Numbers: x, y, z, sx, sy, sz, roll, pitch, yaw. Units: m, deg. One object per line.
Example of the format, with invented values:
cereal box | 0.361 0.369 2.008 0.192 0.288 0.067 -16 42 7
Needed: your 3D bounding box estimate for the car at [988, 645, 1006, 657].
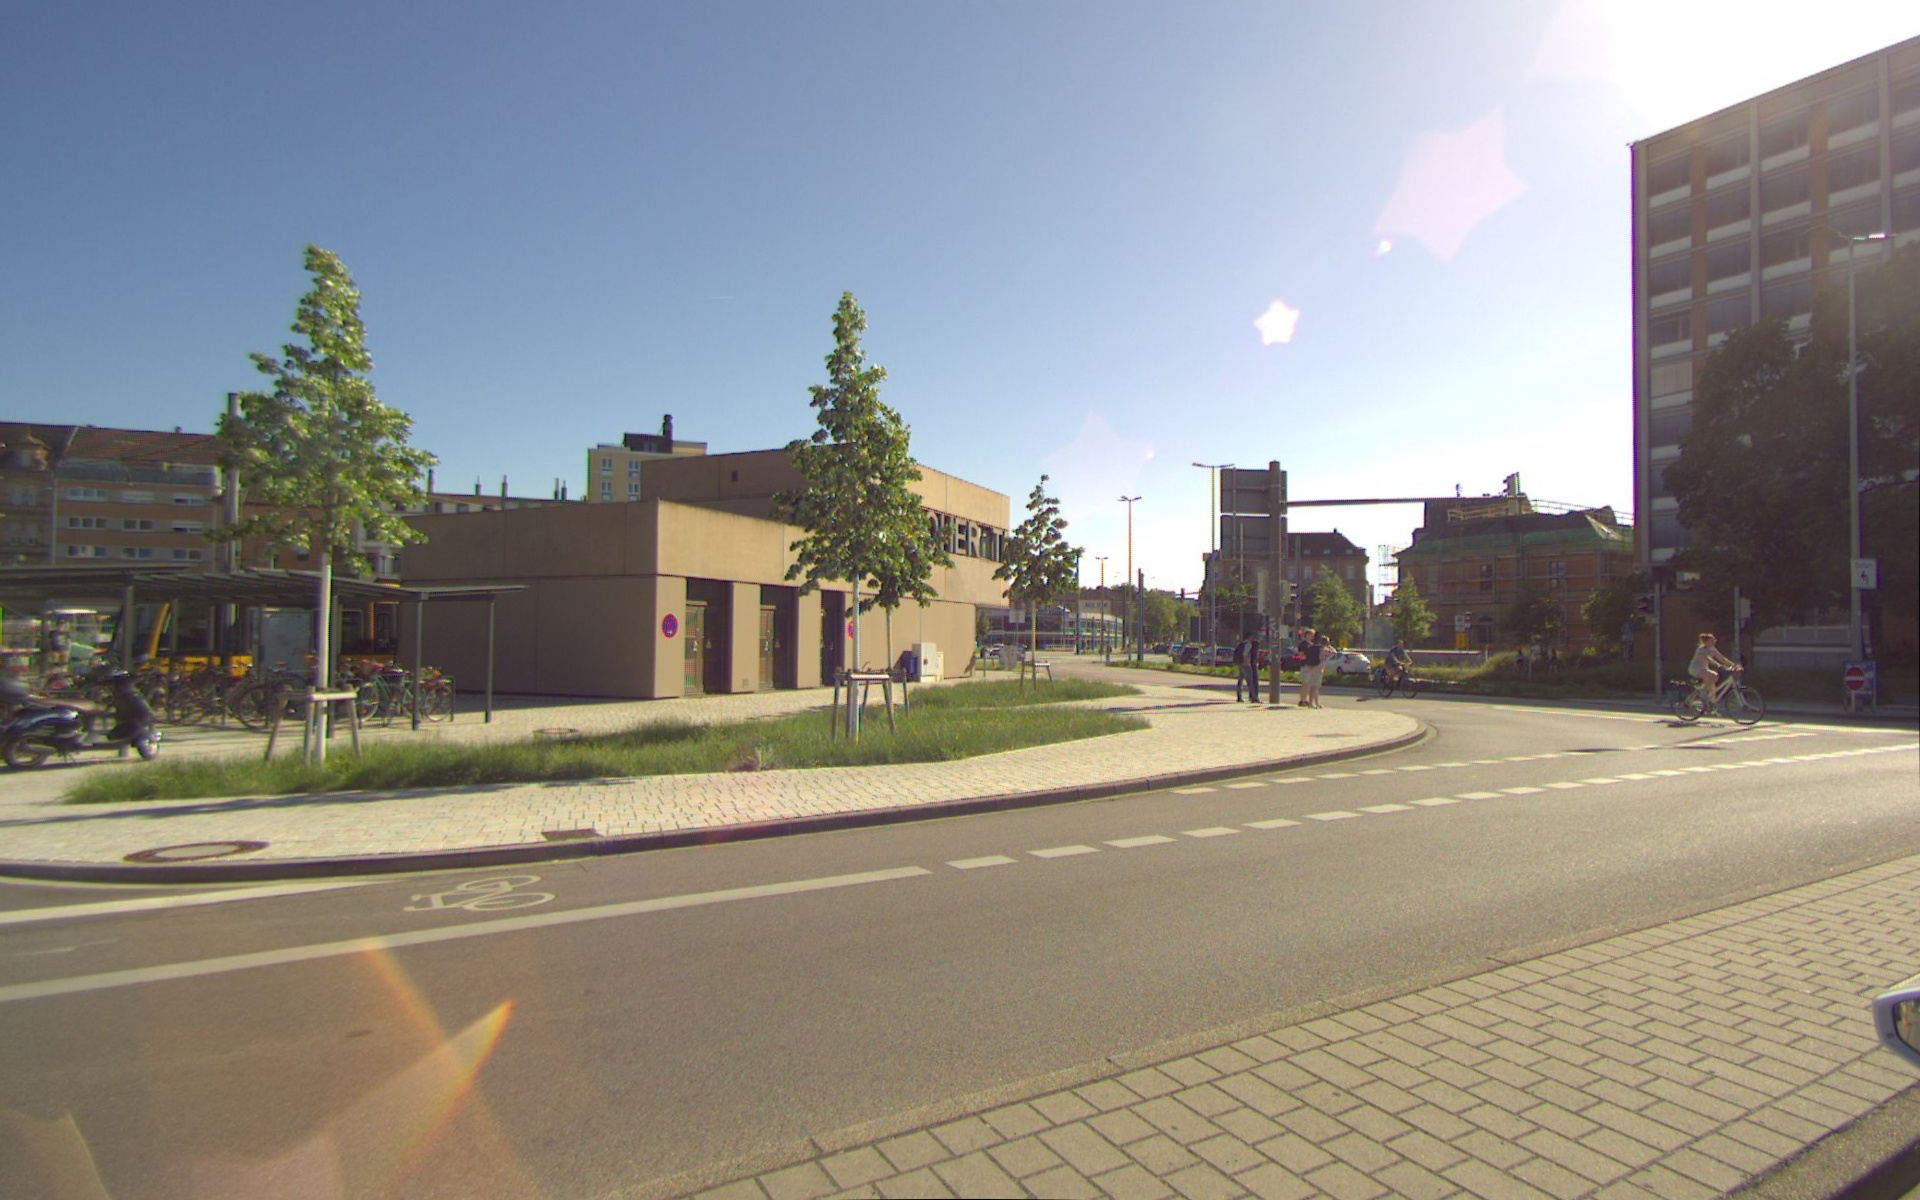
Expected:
car | 4.799 6.571 129.562 1.757 1.540 4.003 0 -2 11

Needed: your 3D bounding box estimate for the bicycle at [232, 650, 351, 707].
bicycle | -13.923 1.616 20.989 0.524 1.051 2.070 2 0 26

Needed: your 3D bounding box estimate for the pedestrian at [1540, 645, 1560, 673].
pedestrian | 33.966 3.402 57.804 0.549 1.592 0.861 1 -2 -9

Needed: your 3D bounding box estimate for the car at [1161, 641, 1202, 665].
car | 16.513 3.939 75.122 1.809 1.653 4.386 1 -2 -4

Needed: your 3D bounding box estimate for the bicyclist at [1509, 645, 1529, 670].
bicyclist | 32.737 3.365 58.848 0.587 1.448 0.938 1 -2 -8

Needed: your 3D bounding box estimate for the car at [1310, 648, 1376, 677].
car | 21.274 3.456 55.900 1.711 1.454 3.843 1 -2 -10

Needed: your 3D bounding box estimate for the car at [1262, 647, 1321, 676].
car | 20.694 3.828 62.895 1.810 1.653 4.382 1 -2 -8

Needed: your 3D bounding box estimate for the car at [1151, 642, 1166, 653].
car | 30.811 7.395 155.954 1.807 1.653 4.390 0 -2 6

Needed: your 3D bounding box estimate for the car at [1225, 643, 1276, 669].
car | 20.031 3.840 69.431 1.810 1.653 4.382 1 -2 -8

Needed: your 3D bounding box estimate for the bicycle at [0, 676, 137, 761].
bicycle | -12.208 1.574 13.575 0.399 0.985 1.683 2 0 22

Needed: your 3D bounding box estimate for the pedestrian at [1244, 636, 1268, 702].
pedestrian | 7.963 1.850 27.044 0.585 1.751 0.580 0 -2 14

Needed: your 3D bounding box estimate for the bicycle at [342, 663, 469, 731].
bicycle | -9.973 1.721 18.158 0.524 1.051 2.070 2 0 26

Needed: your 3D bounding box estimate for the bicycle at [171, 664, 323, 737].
bicycle | -11.942 1.655 16.914 0.524 1.051 2.070 2 0 26

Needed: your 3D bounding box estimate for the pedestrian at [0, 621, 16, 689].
pedestrian | -29.420 1.669 30.592 0.526 2.040 0.803 0 -2 23

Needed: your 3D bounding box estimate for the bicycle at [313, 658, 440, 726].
bicycle | -10.803 1.684 18.696 0.594 1.093 2.053 2 0 25

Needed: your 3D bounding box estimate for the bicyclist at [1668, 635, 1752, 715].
bicyclist | 14.783 1.473 19.833 0.729 1.519 1.068 1 -4 -18

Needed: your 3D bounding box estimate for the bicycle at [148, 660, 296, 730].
bicycle | -12.904 1.630 17.654 0.524 1.051 2.070 2 0 26

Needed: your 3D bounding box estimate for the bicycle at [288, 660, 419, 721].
bicycle | -11.768 1.733 19.569 0.679 1.011 2.140 2 0 26

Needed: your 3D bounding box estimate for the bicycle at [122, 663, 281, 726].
bicycle | -13.715 1.678 18.258 0.673 0.956 2.233 2 0 25

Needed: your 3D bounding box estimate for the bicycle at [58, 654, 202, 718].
bicycle | -15.908 1.624 19.317 0.524 1.051 2.070 5 1 26

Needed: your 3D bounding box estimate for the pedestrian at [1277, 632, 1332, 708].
pedestrian | 8.489 1.728 24.782 1.082 1.822 0.705 1 -4 -3

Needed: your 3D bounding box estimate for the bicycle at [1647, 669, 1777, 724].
bicycle | 14.770 1.872 19.809 0.729 1.008 1.984 1 -4 -17

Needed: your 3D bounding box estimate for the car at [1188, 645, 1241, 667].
car | 17.260 3.765 68.323 1.810 1.406 4.895 1 -2 -8

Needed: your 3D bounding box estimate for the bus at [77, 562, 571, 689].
bus | -18.453 0.871 31.325 2.810 3.112 13.620 0 -2 25

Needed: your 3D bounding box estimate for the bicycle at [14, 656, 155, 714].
bicycle | -17.778 1.698 20.453 0.524 1.051 2.070 5 0 26

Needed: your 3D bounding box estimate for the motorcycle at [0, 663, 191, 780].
motorcycle | -10.854 1.447 12.473 0.558 1.235 2.087 0 -1 21

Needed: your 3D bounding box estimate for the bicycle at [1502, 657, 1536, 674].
bicycle | 32.734 3.831 58.839 0.587 0.976 2.081 1 -2 -8

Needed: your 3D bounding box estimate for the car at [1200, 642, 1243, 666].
car | 19.610 4.035 75.503 1.809 1.653 4.386 1 -2 -4

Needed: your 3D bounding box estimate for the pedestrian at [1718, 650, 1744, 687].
pedestrian | 35.392 3.138 46.093 0.588 1.624 0.738 1 -2 -10

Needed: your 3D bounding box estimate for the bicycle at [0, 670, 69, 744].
bicycle | -13.702 1.532 14.171 0.399 0.985 1.683 2 0 22

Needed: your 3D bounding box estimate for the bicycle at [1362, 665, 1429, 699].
bicycle | 12.566 2.358 29.044 0.676 0.930 1.985 1 -4 -16

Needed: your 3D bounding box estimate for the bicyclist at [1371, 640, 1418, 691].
bicyclist | 12.572 1.903 29.072 0.676 1.440 1.124 1 -4 -15

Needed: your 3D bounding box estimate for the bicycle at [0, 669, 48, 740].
bicycle | -14.206 1.526 14.372 0.399 0.985 1.683 2 0 22

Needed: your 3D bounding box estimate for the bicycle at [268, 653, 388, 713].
bicycle | -12.749 1.648 20.325 0.524 1.051 2.070 2 0 26

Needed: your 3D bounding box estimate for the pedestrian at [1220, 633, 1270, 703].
pedestrian | 7.242 1.736 25.510 0.831 1.711 0.896 5 -5 -34

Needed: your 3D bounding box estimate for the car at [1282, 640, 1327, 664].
car | 25.968 3.914 75.908 1.808 1.653 4.841 1 -2 0

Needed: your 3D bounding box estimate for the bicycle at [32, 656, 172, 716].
bicycle | -16.890 1.678 19.845 0.524 1.051 2.070 -2 -2 26

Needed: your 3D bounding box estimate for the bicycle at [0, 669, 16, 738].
bicycle | -14.724 1.541 14.422 0.399 0.985 1.683 2 0 22

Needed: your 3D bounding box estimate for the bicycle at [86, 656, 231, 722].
bicycle | -15.023 1.641 18.902 0.524 1.051 2.070 5 1 26

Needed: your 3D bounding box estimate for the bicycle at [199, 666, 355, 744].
bicycle | -10.909 1.650 16.130 0.524 1.051 2.070 2 0 26

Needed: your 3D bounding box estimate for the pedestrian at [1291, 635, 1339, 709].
pedestrian | 8.472 1.717 23.989 0.776 1.711 0.793 2 -5 -15

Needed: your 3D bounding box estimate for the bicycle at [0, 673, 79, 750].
bicycle | -13.236 1.544 13.809 0.399 0.985 1.683 2 0 22

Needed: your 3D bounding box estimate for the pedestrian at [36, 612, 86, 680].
pedestrian | -26.199 1.324 29.286 0.755 1.942 0.803 0 -2 23
